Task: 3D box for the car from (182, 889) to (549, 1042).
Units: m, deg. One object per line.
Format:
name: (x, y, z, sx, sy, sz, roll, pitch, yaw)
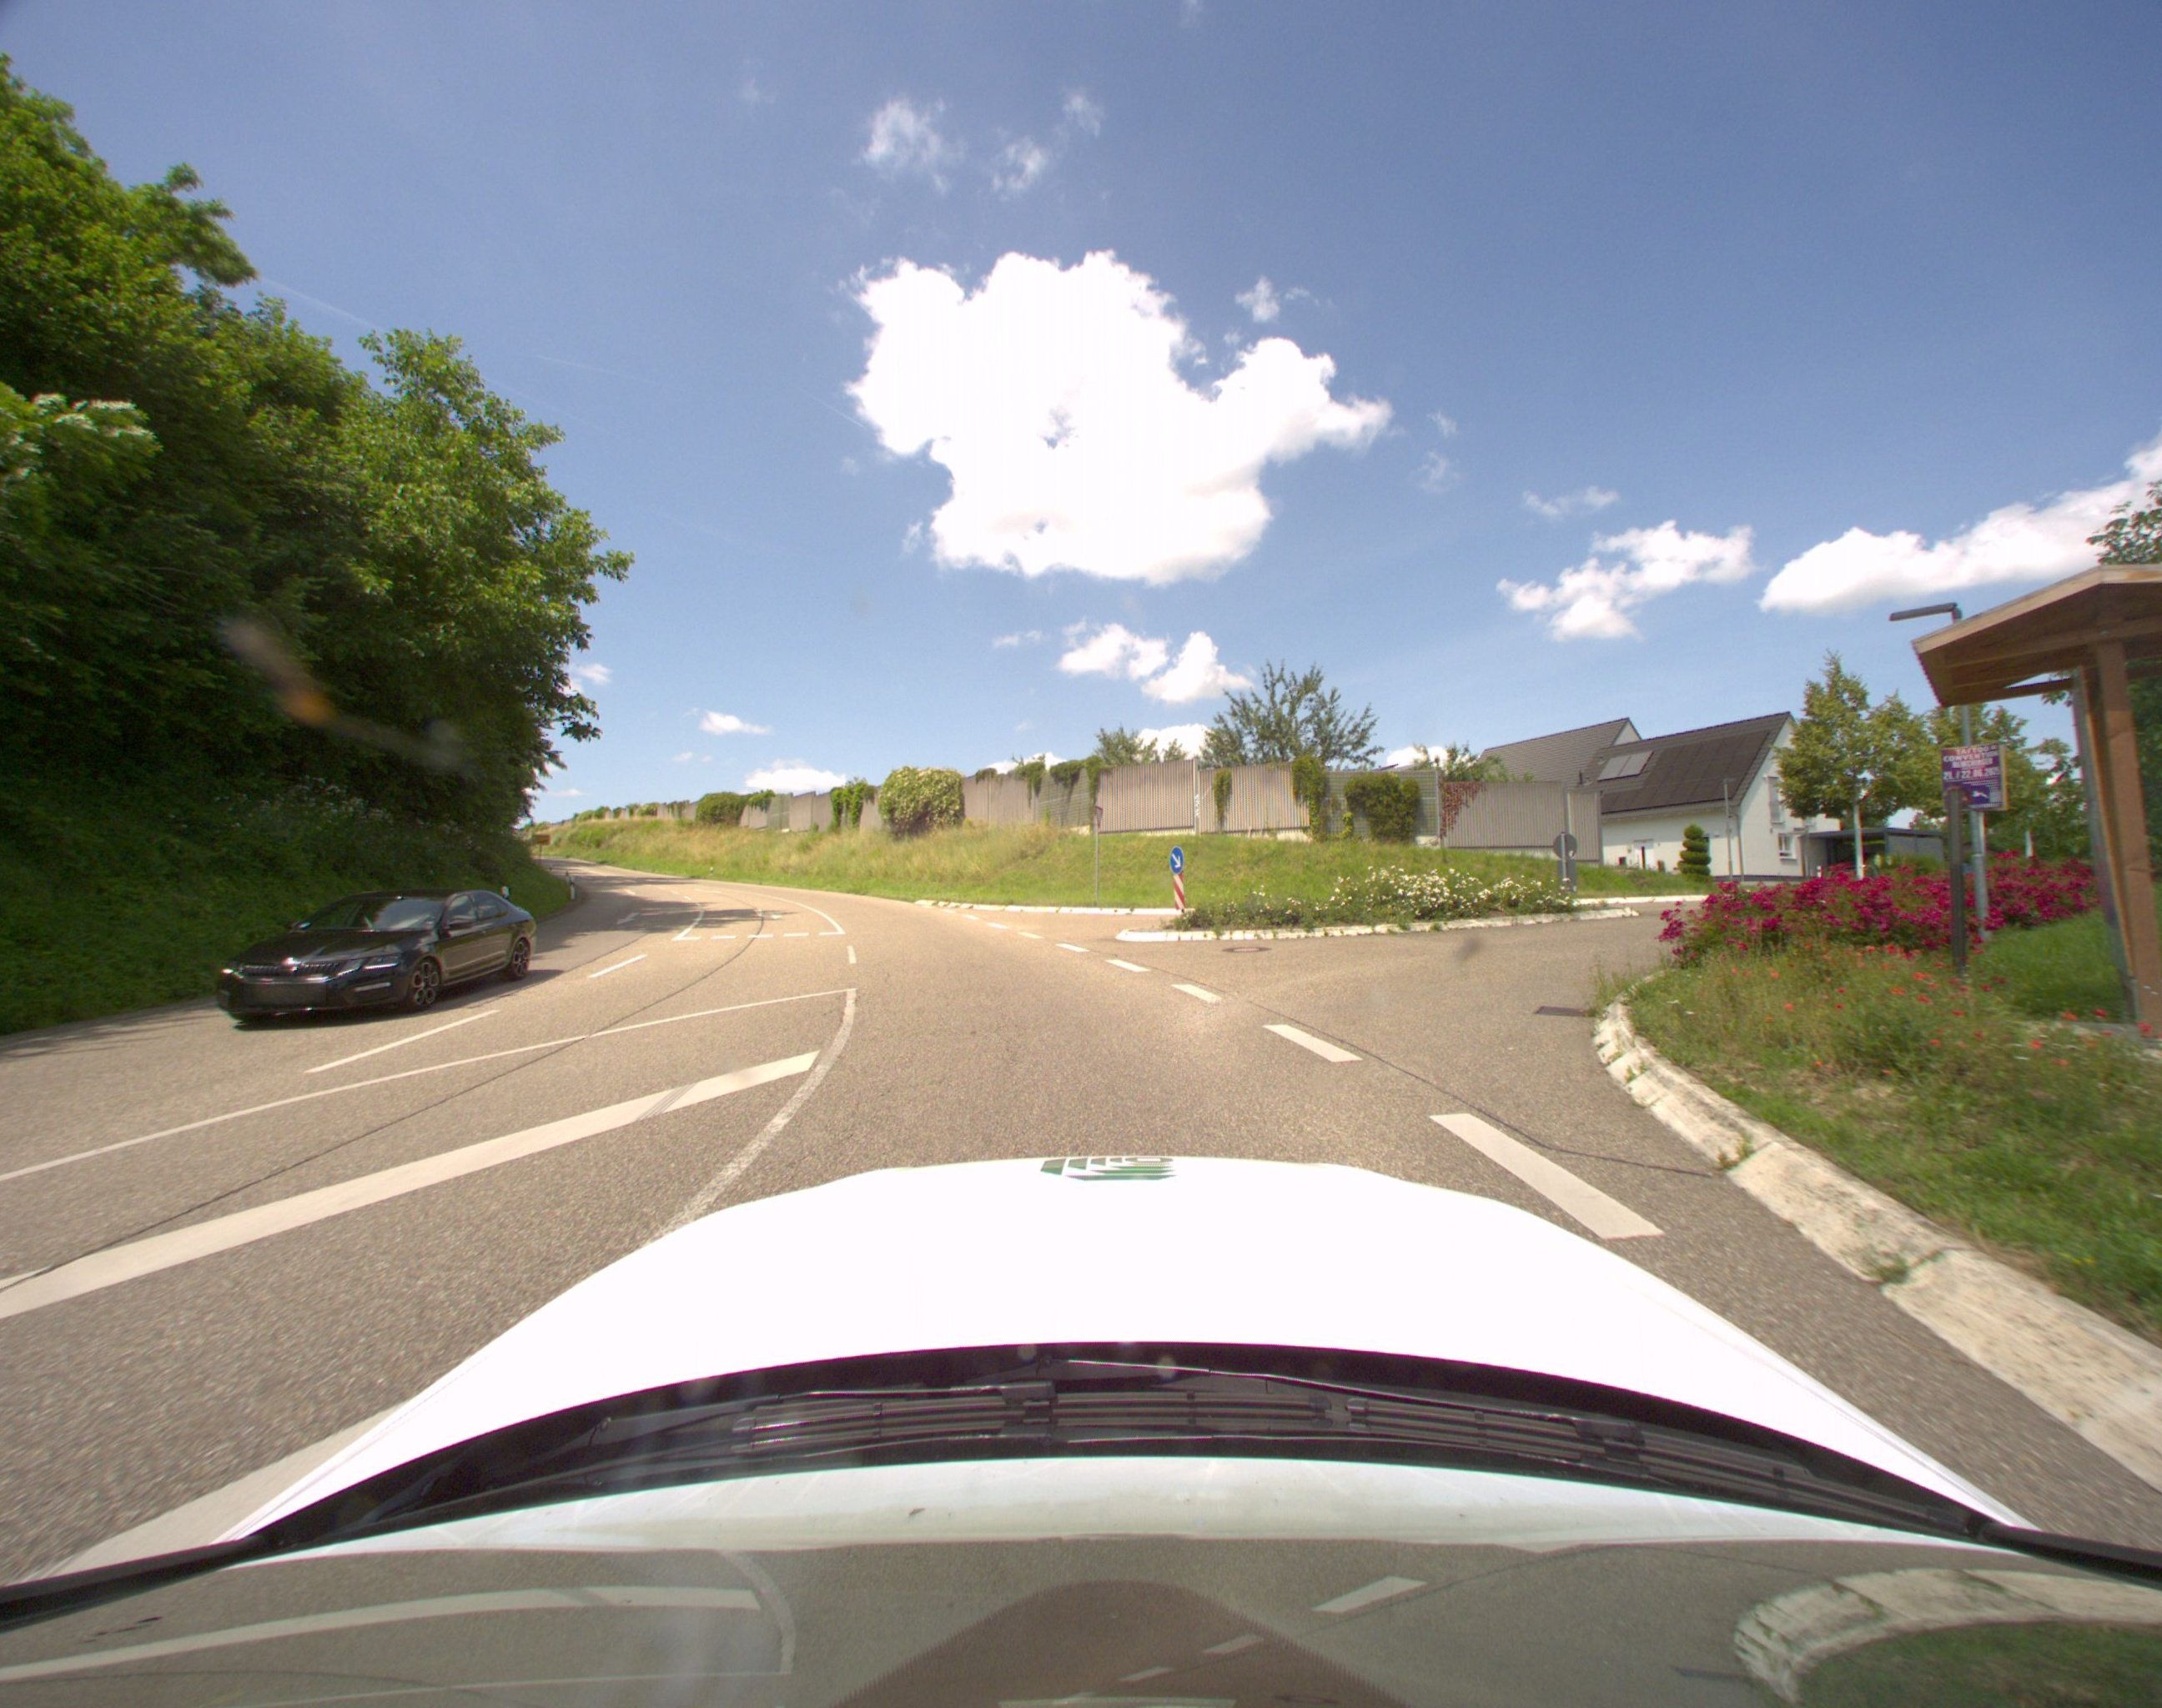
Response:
car: (-8.847, 1.245, 10.661, 1.686, 1.420, 4.325, -2, -1, -12)
